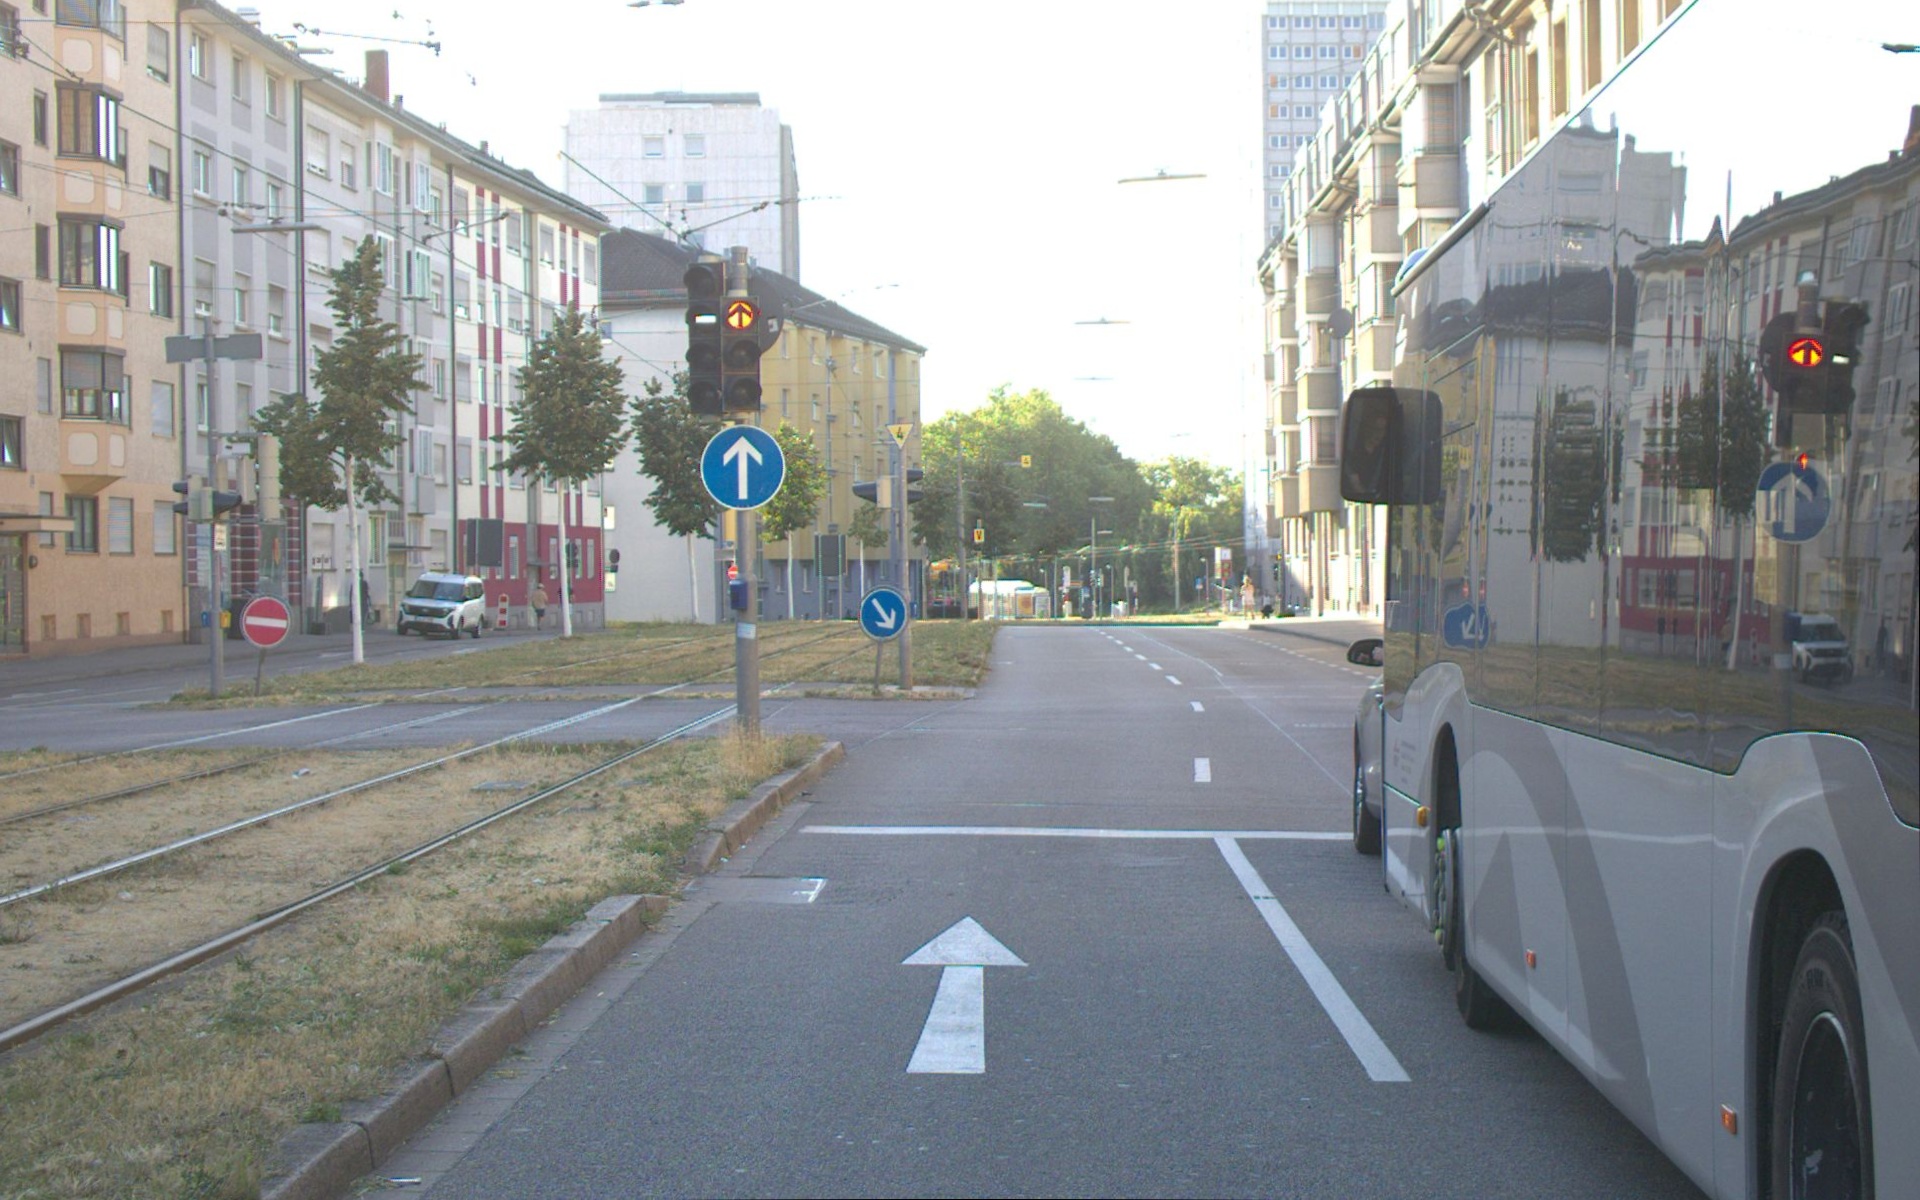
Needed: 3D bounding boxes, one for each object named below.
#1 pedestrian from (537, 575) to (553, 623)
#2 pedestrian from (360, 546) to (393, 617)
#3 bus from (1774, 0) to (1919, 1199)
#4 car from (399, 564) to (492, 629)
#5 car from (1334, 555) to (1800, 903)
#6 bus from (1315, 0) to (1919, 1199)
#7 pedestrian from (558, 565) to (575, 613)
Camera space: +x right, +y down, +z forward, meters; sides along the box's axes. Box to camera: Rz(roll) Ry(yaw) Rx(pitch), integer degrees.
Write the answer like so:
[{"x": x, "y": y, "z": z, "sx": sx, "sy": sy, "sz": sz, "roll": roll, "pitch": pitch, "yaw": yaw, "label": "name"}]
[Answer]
[{"x": -14.550, "y": -0.044, "z": 120.531, "sx": 0.495, "sy": 1.652, "sz": 0.408, "roll": -1, "pitch": 0, "yaw": 2, "label": "pedestrian"}, {"x": -16.734, "y": -0.541, "z": 98.651, "sx": 0.786, "sy": 2.007, "sz": 0.891, "roll": -1, "pitch": 0, "yaw": -2, "label": "pedestrian"}, {"x": 2.597, "y": 0.010, "z": 1.111, "sx": 2.739, "sy": 3.045, "sz": 8.853, "roll": 1, "pitch": 0, "yaw": 1, "label": "bus"}, {"x": -14.774, "y": -0.094, "z": 98.917, "sx": 1.812, "sy": 1.791, "sz": 4.244, "roll": 1, "pitch": 0, "yaw": 3, "label": "car"}, {"x": 3.027, "y": 0.580, "z": 17.936, "sx": 1.770, "sy": 1.570, "sz": 4.085, "roll": -1, "pitch": 0, "yaw": 1, "label": "car"}, {"x": 2.801, "y": -0.064, "z": 10.116, "sx": 2.739, "sy": 3.045, "sz": 9.131, "roll": 1, "pitch": 0, "yaw": 1, "label": "bus"}, {"x": -13.813, "y": -0.382, "z": 120.760, "sx": 0.495, "sy": 1.652, "sz": 0.408, "roll": -1, "pitch": 0, "yaw": 2, "label": "pedestrian"}]
